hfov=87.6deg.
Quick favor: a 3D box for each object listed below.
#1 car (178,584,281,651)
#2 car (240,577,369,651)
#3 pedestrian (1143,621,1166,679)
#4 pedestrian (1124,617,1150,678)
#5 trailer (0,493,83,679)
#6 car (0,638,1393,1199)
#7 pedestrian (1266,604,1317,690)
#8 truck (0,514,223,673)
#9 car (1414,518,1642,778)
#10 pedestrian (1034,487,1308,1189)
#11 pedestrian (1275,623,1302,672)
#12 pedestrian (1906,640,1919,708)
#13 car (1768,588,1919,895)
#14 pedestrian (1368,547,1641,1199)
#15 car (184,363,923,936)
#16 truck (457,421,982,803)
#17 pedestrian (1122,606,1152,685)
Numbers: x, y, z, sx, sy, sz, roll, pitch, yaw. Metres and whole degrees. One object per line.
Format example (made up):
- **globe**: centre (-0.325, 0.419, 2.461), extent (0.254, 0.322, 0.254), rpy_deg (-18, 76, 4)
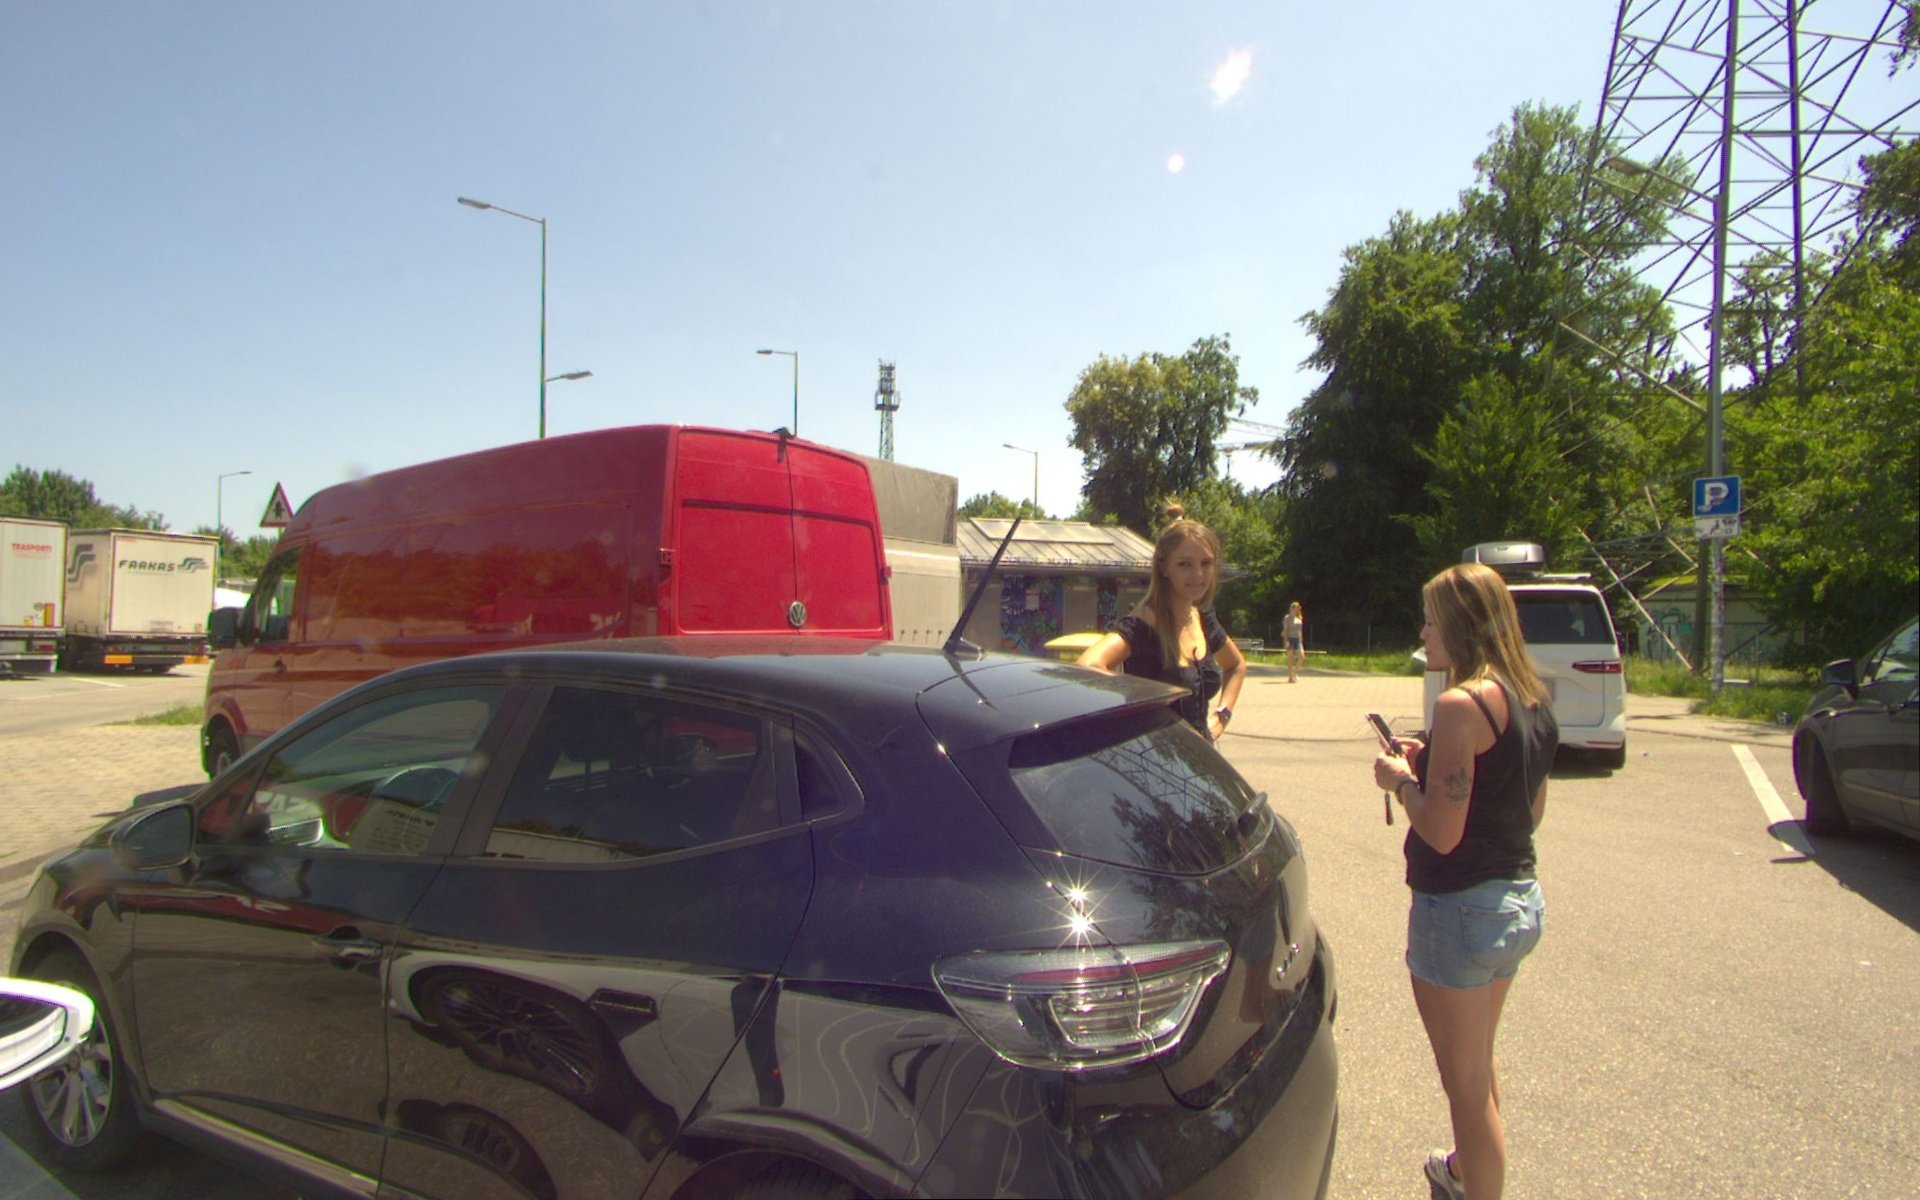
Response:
- **car**: centre (-29.921, 0.762, 41.017), extent (3.943, 2.632, 2.111), rpy_deg (-1, -2, 32)
- **car**: centre (-29.449, 0.609, 44.934), extent (6.259, 3.114, 2.495), rpy_deg (0, -1, 32)
- **pedestrian**: centre (4.654, 1.183, 23.979), extent (0.439, 1.362, 0.477), rpy_deg (0, 0, 23)
- **pedestrian**: centre (4.318, 1.151, 24.410), extent (0.521, 1.478, 0.576), rpy_deg (0, 0, 23)
- **trailer**: centre (-28.556, -0.336, 27.840), extent (12.642, 4.510, 2.677), rpy_deg (0, -1, 32)
- **car**: centre (-0.806, 0.847, 2.771), extent (3.626, 1.476, 1.777), rpy_deg (-1, -2, 25)
- **pedestrian**: centre (7.514, 1.051, 22.713), extent (0.762, 1.903, 0.840), rpy_deg (0, -1, -11)
- **truck**: centre (-27.102, -0.018, 31.202), extent (11.800, 4.279, 2.582), rpy_deg (-1, -2, 32)
- **car**: centre (6.665, 0.509, 11.885), extent (1.901, 2.401, 4.954), rpy_deg (1, -1, 29)
- **pedestrian**: centre (0.701, 0.651, 3.197), extent (0.481, 1.884, 0.906), rpy_deg (0, -1, 39)
- **pedestrian**: centre (13.892, 1.990, 42.370), extent (0.955, 2.039, 0.829), rpy_deg (0, -1, 10)
- **pedestrian**: centre (17.126, 1.292, 17.429), extent (0.694, 1.178, 0.787), rpy_deg (-1, -1, 22)
- **car**: centre (6.140, 0.770, 5.377), extent (1.808, 1.638, 4.156), rpy_deg (1, -1, 25)
- **pedestrian**: centre (1.212, 0.712, 2.261), extent (0.478, 1.615, 0.501), rpy_deg (0, 0, 29)
- **car**: centre (-3.365, 0.256, 7.337), extent (6.298, 2.668, 1.988), rpy_deg (0, -1, 36)
- **truck**: centre (-2.442, 0.176, 9.880), extent (4.751, 2.863, 2.514), rpy_deg (-1, -2, 34)
- **pedestrian**: centre (4.082, 1.033, 23.071), extent (0.520, 1.783, 0.651), rpy_deg (0, 0, 23)
